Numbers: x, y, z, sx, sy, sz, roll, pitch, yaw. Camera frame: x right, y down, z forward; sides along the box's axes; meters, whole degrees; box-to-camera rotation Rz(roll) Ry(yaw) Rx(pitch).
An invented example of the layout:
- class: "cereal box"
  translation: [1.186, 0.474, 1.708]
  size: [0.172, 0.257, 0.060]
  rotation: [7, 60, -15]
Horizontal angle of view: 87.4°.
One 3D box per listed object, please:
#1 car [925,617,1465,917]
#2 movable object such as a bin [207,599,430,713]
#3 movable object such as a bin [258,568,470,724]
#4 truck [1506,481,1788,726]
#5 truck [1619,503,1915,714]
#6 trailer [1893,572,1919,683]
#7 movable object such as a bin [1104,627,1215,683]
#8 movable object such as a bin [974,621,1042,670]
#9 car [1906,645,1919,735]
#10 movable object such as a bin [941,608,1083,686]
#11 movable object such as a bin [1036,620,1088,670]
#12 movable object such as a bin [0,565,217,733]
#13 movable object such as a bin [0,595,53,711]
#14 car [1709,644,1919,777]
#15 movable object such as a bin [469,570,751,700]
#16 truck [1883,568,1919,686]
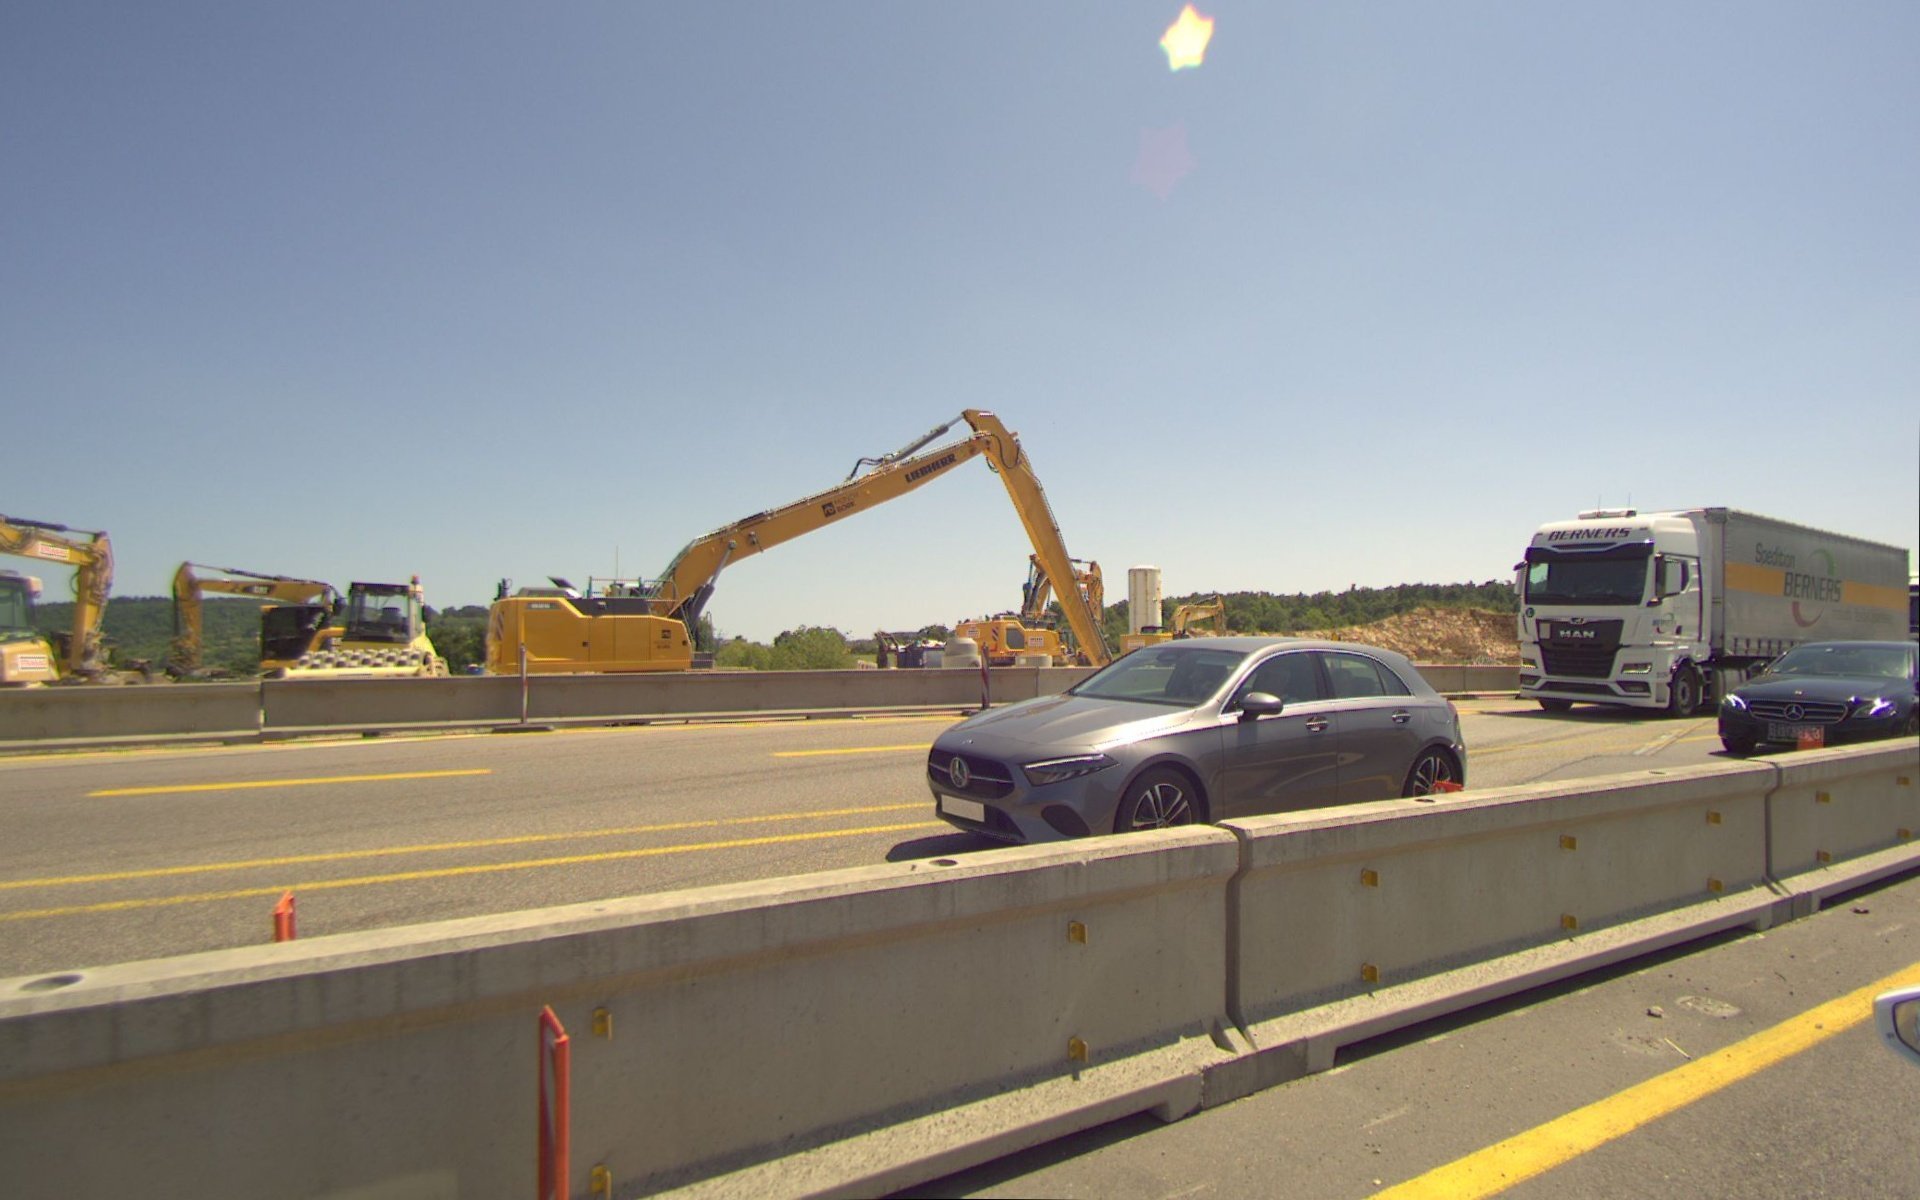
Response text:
- class: "car"
  translation: [1.810, 0.983, 7.203]
  size: [3.911, 1.625, 1.500]
  rotation: [2, -2, -34]
- class: "movable object such as a bin"
  translation: [-20.652, 1.659, 32.428]
  size: [5.516, 3.299, 3.759]
  rotation: [1, -1, -43]
- class: "movable object such as a bin"
  translation: [-12.306, 0.862, 21.335]
  size: [2.769, 2.800, 6.041]
  rotation: [1, -1, -20]
- class: "truck"
  translation: [14.194, 0.161, 20.630]
  size: [6.137, 4.316, 2.753]
  rotation: [1, -2, -35]
- class: "truck"
  translation: [20.614, 0.325, 25.241]
  size: [11.665, 4.334, 2.755]
  rotation: [1, -2, -36]
- class: "trailer"
  translation: [39.395, 1.115, 39.837]
  size: [11.164, 4.030, 2.679]
  rotation: [2, -3, -43]
- class: "movable object such as a bin"
  translation: [12.091, 3.295, 60.734]
  size: [5.975, 3.090, 3.805]
  rotation: [0, -3, -45]
- class: "movable object such as a bin"
  translation: [3.415, 3.107, 69.924]
  size: [2.386, 3.168, 5.470]
  rotation: [2, 0, 31]
- class: "car"
  translation: [17.791, 1.510, 17.188]
  size: [4.208, 1.472, 1.644]
  rotation: [2, -2, -37]
- class: "movable object such as a bin"
  translation: [2.273, 2.020, 43.744]
  size: [4.952, 3.065, 3.634]
  rotation: [-1, -3, -41]
- class: "movable object such as a bin"
  translation: [6.880, 2.949, 67.508]
  size: [1.965, 3.168, 3.748]
  rotation: [2, 0, 31]
- class: "movable object such as a bin"
  translation: [-16.236, 0.688, 16.256]
  size: [3.653, 2.464, 7.913]
  rotation: [1, 0, -11]
- class: "movable object such as a bin"
  translation: [-24.240, 1.246, 23.559]
  size: [2.823, 2.763, 3.363]
  rotation: [1, 0, 2]
- class: "car"
  translation: [11.529, 1.305, 13.025]
  size: [4.087, 1.426, 1.715]
  rotation: [1, -2, -35]
- class: "movable object such as a bin"
  translation: [-7.667, 0.743, 21.939]
  size: [5.373, 2.472, 3.278]
  rotation: [1, -1, -29]
- class: "truck"
  translation: [35.276, 0.971, 35.969]
  size: [6.154, 4.021, 2.675]
  rotation: [2, -3, -43]
